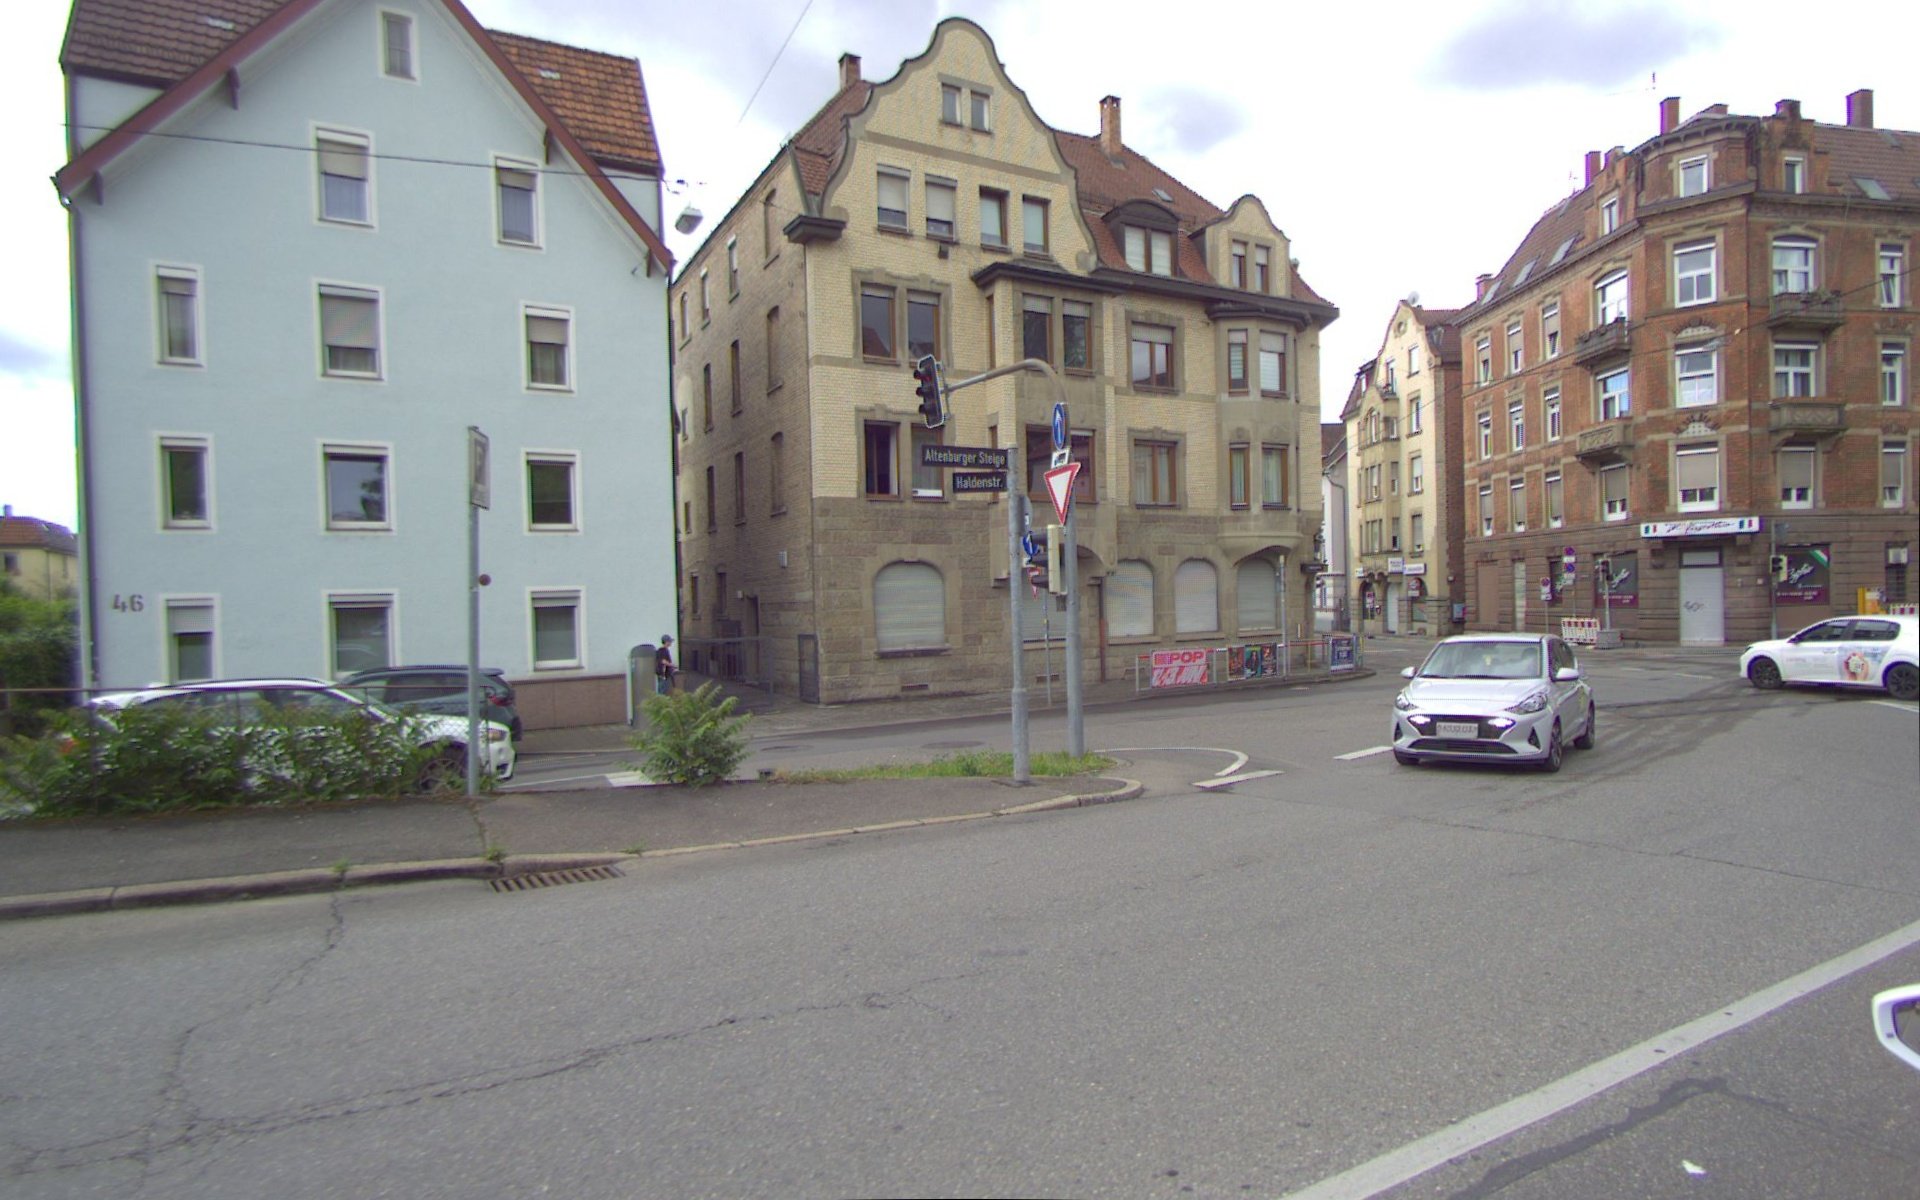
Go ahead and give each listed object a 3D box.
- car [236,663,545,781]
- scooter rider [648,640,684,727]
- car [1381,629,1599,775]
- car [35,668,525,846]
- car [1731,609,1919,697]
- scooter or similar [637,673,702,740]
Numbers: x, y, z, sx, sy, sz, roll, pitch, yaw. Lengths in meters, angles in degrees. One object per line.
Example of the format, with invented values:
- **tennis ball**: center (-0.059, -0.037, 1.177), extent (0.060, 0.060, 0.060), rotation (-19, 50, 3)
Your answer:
- **car**: center (-9.147, 1.895, 16.432), extent (4.184, 1.576, 1.674), rotation (1, -1, -31)
- **scooter rider**: center (-6.002, 1.686, 20.476), extent (0.570, 1.728, 0.485), rotation (-1, 0, -30)
- **car**: center (6.526, 1.178, 12.193), extent (1.650, 1.486, 3.628), rotation (-4, -5, 38)
- **car**: center (-7.505, 1.651, 11.630), extent (4.371, 1.534, 1.819), rotation (1, -1, -30)
- **car**: center (16.901, 0.947, 18.776), extent (1.655, 1.485, 3.914), rotation (1, -1, -8)
- **scooter or similar**: center (-5.922, 2.160, 20.502), extent (1.212, 1.258, 0.376), rotation (-1, -1, -30)
